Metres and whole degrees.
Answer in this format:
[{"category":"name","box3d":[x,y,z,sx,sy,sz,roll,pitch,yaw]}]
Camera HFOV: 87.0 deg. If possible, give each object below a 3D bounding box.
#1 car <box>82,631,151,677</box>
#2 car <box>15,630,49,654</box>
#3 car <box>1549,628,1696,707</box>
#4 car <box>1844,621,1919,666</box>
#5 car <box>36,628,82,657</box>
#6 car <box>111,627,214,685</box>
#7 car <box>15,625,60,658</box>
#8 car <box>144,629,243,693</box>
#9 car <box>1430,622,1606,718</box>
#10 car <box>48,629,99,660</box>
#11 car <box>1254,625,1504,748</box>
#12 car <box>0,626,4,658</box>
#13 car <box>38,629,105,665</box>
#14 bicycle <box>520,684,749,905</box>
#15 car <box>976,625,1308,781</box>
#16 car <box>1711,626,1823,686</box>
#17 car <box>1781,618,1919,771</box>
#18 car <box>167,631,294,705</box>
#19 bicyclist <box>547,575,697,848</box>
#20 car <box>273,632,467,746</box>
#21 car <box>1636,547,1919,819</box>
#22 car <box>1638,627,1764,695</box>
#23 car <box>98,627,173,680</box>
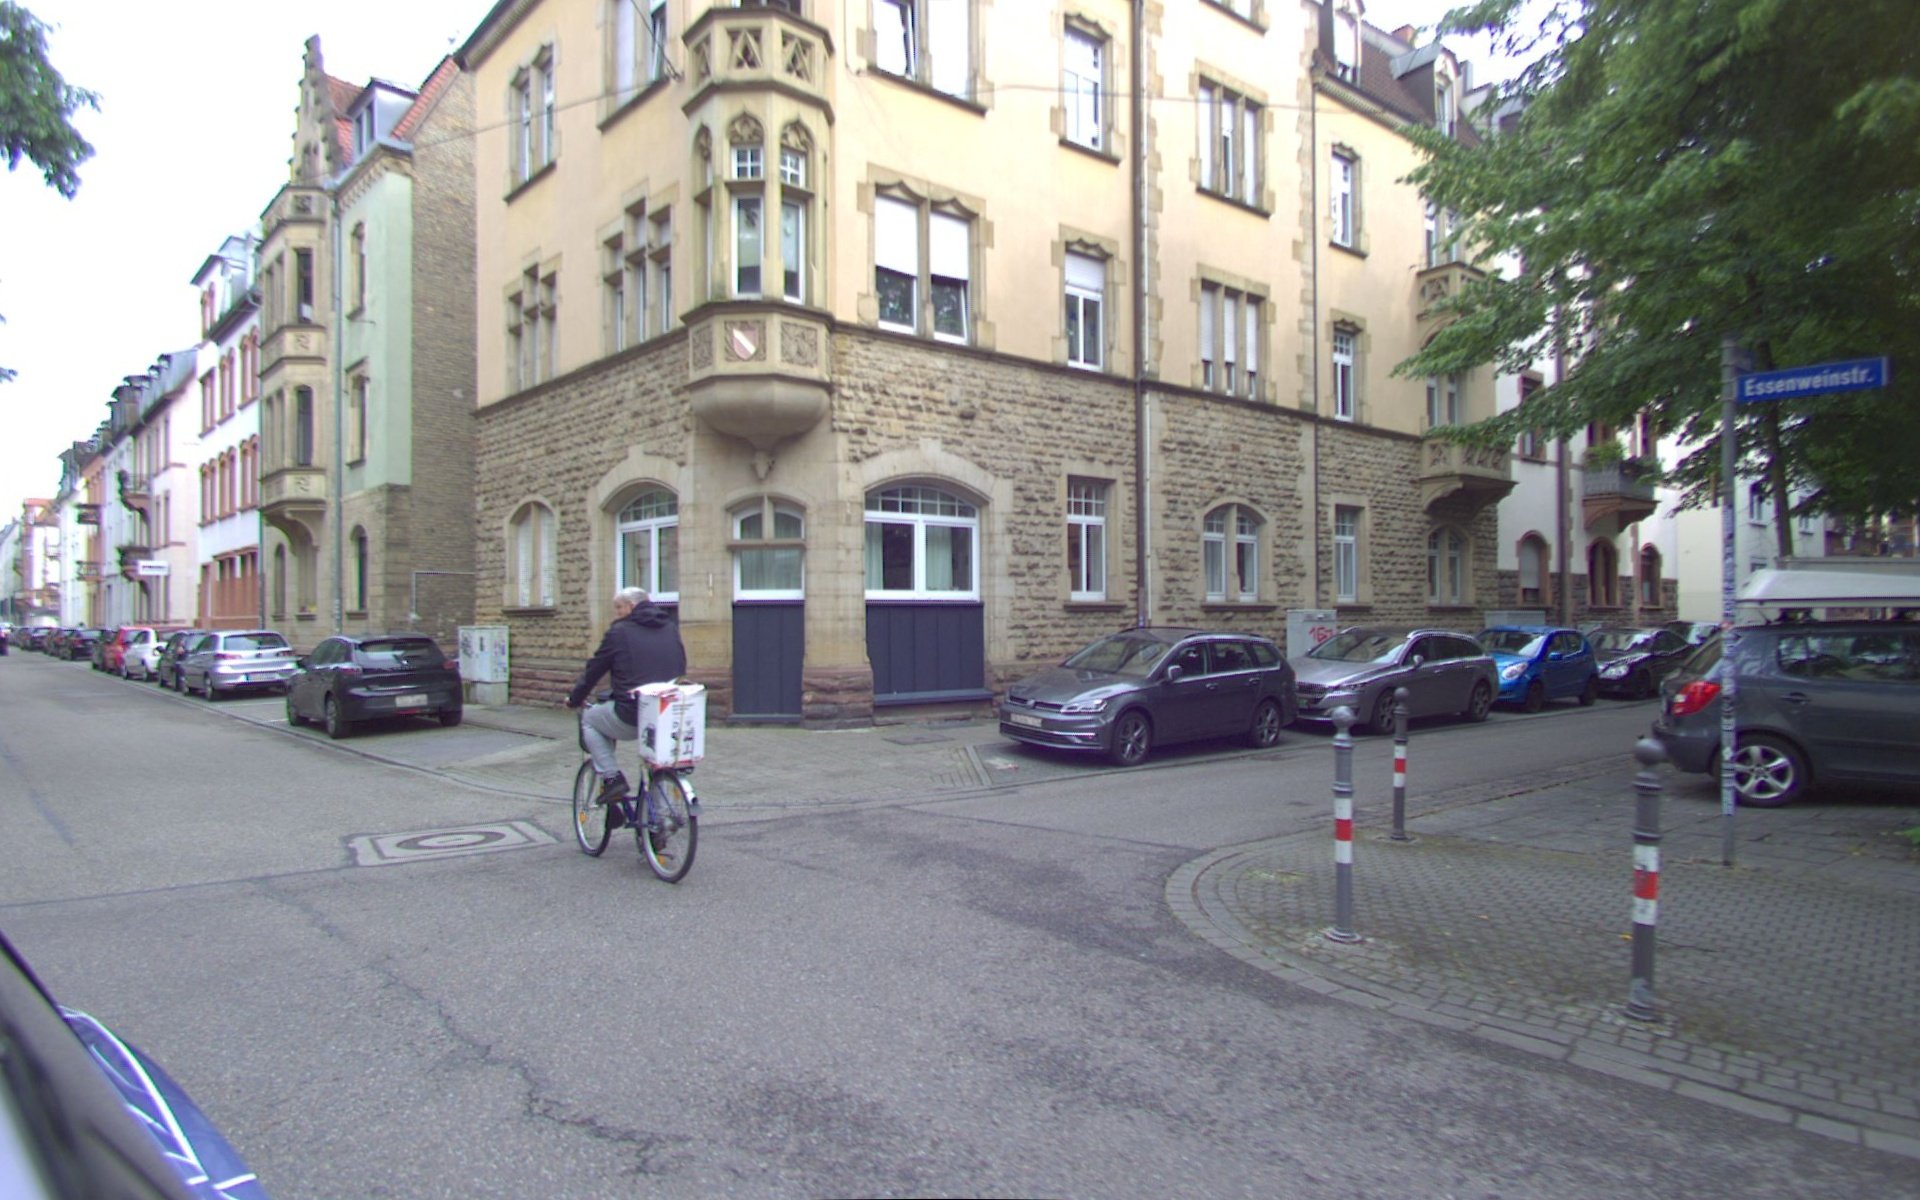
[{"category":"car","box3d":[-29.249,1.848,35.064,3.919,1.427,1.449,-2,-1,45]},{"category":"car","box3d":[-58.630,2.629,63.907,1.437,1.420,3.813,-1,-1,-44]},{"category":"car","box3d":[13.837,1.342,21.083,3.336,1.359,1.582,0,2,-39]},{"category":"car","box3d":[31.844,1.474,34.783,3.336,1.416,1.613,0,-2,-39]},{"category":"car","box3d":[-48.064,2.243,53.963,3.343,1.483,1.588,-2,-2,44]},{"category":"car","box3d":[-22.946,1.578,29.077,3.551,1.522,1.649,-2,-1,40]},{"category":"car","box3d":[-54.707,2.421,59.995,1.818,1.874,4.003,1,-2,-44]},{"category":"car","box3d":[-19.357,1.510,25.507,3.457,1.445,1.500,-2,-1,45]},{"category":"car","box3d":[10.299,1.216,18.616,3.336,1.477,1.666,0,2,-39]},{"category":"car","box3d":[-43.512,2.179,49.653,3.473,1.393,1.637,-2,0,44]},{"category":"car","box3d":[6.463,1.195,15.410,4.217,1.477,1.666,0,2,-39]},{"category":"car","box3d":[-51.789,2.233,53.458,1.788,1.642,4.210,0,-1,-44]},{"category":"car","box3d":[-38.155,1.997,43.410,4.001,1.401,1.878,-2,-1,44]},{"category":"bicycle","box3d":[-2.061,1.104,6.255,0.626,1.102,1.801,1,-3,-43]},{"category":"car","box3d":[2.354,1.117,12.491,4.217,1.477,1.666,0,2,-39]},{"category":"car","box3d":[21.433,1.440,26.859,3.456,1.359,1.582,0,2,-39]},{"category":"car","box3d":[10.476,0.931,9.847,1.627,1.528,3.620,0,-1,-10]},{"category":"car","box3d":[-16.166,1.453,22.359,3.810,1.445,1.572,-2,-1,43]},{"category":"bicyclist","box3d":[-2.081,0.643,6.227,0.640,1.550,0.677,2,-3,-43]},{"category":"car","box3d":[-9.083,1.253,15.448,1.707,1.445,3.885,-1,-1,-43]},{"category":"car","box3d":[7.767,0.607,7.974,3.949,1.983,1.813,-1,-2,32]},{"category":"car","box3d":[17.662,1.397,24.099,3.336,1.359,1.582,0,2,-39]},{"category":"car","box3d":[-26.116,1.672,32.030,3.570,1.542,1.449,-2,-1,45]}]
